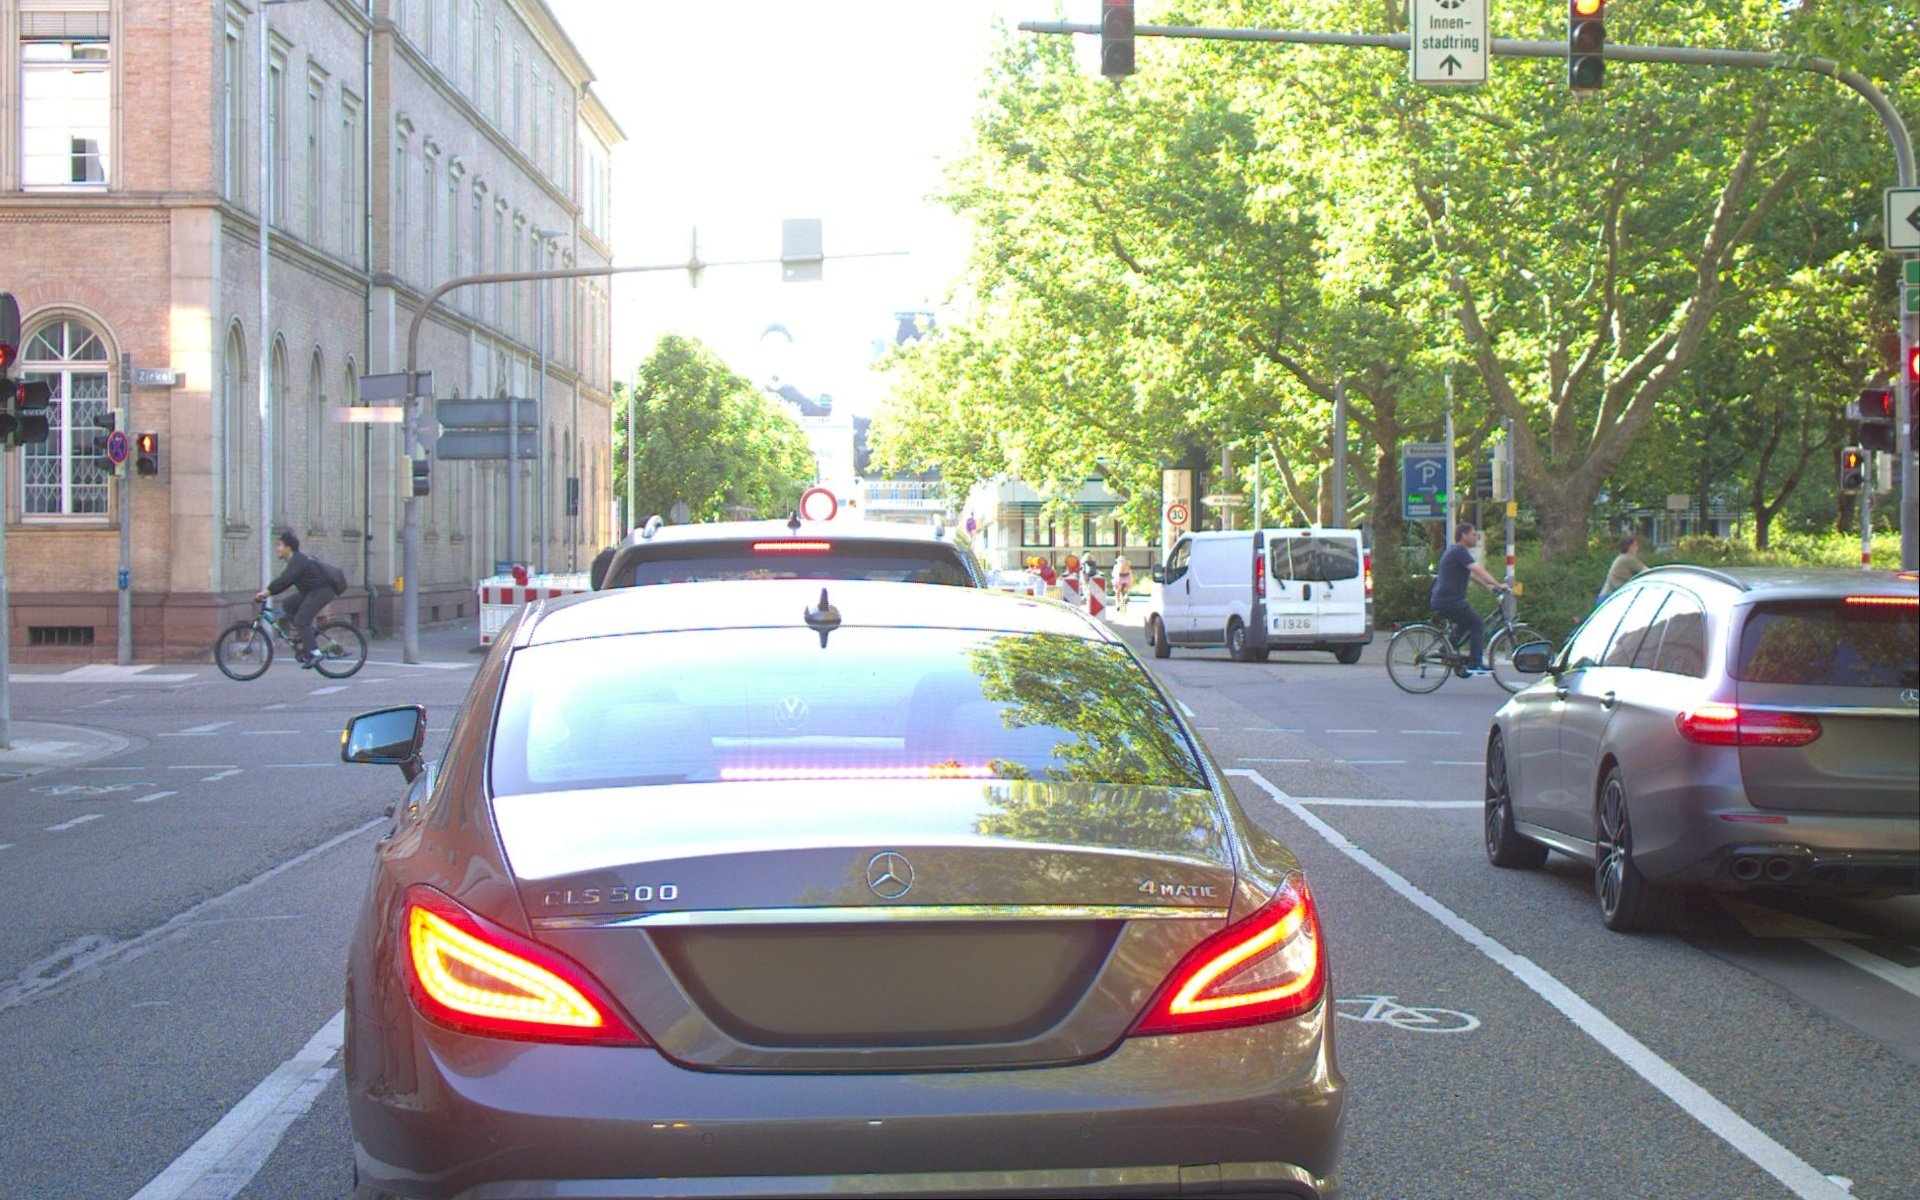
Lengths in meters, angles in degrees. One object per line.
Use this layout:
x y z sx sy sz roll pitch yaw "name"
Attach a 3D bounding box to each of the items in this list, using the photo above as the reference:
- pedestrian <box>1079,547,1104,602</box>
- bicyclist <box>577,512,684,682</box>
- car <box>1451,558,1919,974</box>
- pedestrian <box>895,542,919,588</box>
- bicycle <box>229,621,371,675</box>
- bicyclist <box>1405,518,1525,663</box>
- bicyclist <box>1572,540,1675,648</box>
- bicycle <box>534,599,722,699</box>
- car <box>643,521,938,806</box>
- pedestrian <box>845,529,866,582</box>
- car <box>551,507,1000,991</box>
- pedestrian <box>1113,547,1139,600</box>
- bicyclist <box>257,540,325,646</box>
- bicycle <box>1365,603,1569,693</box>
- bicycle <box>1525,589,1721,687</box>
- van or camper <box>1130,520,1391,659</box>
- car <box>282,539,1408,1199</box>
3.559 -0.696 92.995 0.648 1.498 0.637 0 1 -1 "pedestrian"
-3.214 -0.036 33.524 1.014 1.637 0.608 0 1 -6 "bicyclist"
3.465 0.593 14.864 1.913 1.459 4.669 2 1 -1 "car"
-1.800 -1.198 117.317 0.801 1.571 0.845 1 1 -1 "pedestrian"
-7.898 0.575 41.160 1.587 0.632 0.496 0 1 3 "bicycle"
5.210 -0.102 35.538 1.116 1.485 0.712 0 1 -1 "bicyclist"
7.135 -0.071 36.982 0.991 1.150 0.620 0 1 1 "bicyclist"
-3.241 0.478 33.520 1.793 0.943 0.614 1 1 -6 "bicycle"
-1.074 0.359 23.266 1.820 1.756 4.000 0 1 -1 "car"
-3.770 -1.601 123.838 0.721 1.895 0.704 1 1 -1 "pedestrian"
-0.719 0.480 13.706 1.517 1.641 3.881 1 1 -3 "car"
4.470 -0.723 92.704 0.648 1.428 0.659 0 1 -1 "pedestrian"
-8.002 -0.084 41.150 0.704 1.256 0.457 0 1 3 "bicyclist"
5.235 0.495 35.558 1.986 0.900 0.734 0 1 -1 "bicycle"
7.126 0.404 36.987 1.980 1.024 0.652 0 1 1 "bicycle"
4.337 -0.184 50.326 1.993 1.935 4.595 0 1 -21 "van or camper"
-0.457 0.601 7.677 1.803 1.451 4.352 1 1 -8 "car"
